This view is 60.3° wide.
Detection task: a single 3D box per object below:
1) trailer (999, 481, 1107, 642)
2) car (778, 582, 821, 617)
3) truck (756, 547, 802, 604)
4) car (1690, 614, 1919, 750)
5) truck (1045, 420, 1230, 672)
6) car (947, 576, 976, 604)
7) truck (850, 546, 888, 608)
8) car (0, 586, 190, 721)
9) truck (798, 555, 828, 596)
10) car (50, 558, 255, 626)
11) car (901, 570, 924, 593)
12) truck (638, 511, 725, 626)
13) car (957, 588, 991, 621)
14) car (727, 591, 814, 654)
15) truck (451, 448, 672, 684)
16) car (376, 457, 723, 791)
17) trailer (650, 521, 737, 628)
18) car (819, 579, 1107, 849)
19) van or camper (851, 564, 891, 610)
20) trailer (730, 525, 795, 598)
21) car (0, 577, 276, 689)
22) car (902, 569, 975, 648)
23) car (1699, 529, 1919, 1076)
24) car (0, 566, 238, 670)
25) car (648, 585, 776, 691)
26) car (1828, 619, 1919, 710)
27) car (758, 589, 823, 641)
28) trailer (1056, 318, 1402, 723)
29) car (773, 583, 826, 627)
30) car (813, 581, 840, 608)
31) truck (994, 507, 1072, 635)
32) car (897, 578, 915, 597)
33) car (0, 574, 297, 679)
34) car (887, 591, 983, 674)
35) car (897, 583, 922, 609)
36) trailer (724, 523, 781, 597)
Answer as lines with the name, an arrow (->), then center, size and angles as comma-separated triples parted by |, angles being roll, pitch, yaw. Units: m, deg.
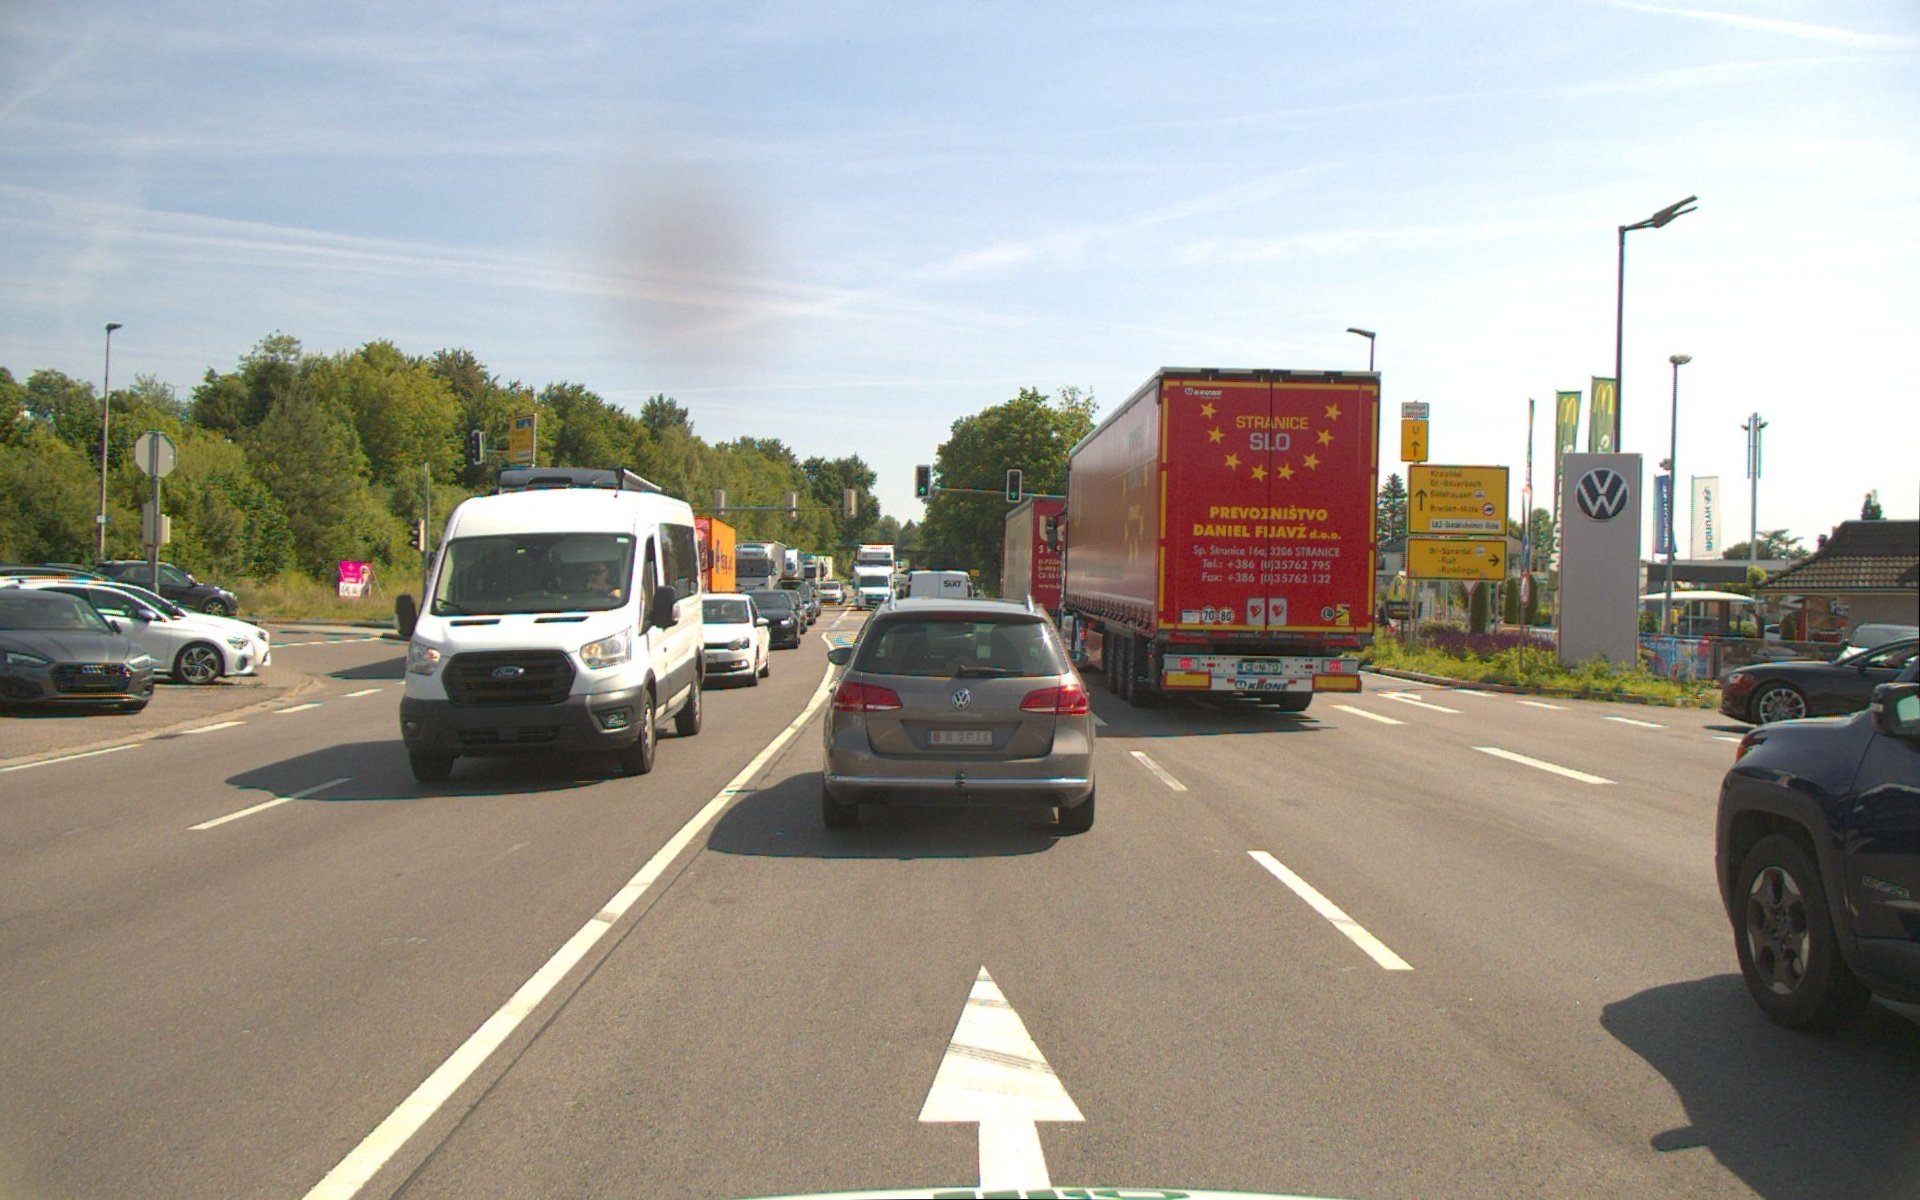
trailer -> 2.640, -1.082, 50.803 | 2.346, 4.317, 13.075 | 0, 0, -1
car -> -7.961, -0.070, 82.413 | 1.883, 1.630, 4.586 | -1, 1, -3
truck -> -13.650, -1.836, 124.874 | 3.124, 4.151, 6.342 | 0, 0, -3
car -> 11.328, 1.068, 19.279 | 4.737, 1.355, 1.952 | 5, -1, 44
truck -> 3.296, -0.976, 32.208 | 2.811, 4.355, 5.838 | 2, 0, 0
car -> 0.061, -0.728, 123.699 | 1.954, 2.049, 3.998 | 0, 0, -3
truck -> -6.232, -1.546, 112.674 | 2.487, 4.159, 6.261 | 0, 0, -4
car -> -12.013, 0.617, 21.609 | 4.560, 1.461, 1.962 | 3, 1, 43
truck -> -14.987, -2.506, 169.151 | 2.675, 4.069, 9.614 | 0, 0, -3
car -> -21.838, -0.200, 44.868 | 1.883, 1.554, 4.604 | 3, -1, 44
car -> -4.271, -1.637, 147.899 | 1.954, 2.049, 3.998 | 0, 0, -3
truck -> -10.258, -1.126, 61.304 | 2.667, 4.068, 6.051 | 0, 0, -5
car -> 0.857, 0.241, 104.848 | 1.954, 2.049, 3.998 | 0, 0, -3
car -> -4.754, 0.526, 41.952 | 1.676, 1.469, 4.378 | -2, 0, 0
truck -> -7.759, -0.623, 33.596 | 2.657, 4.068, 9.969 | 0, 0, -4
car -> -3.653, 0.157, 16.239 | 2.018, 2.554, 7.110 | 0, 0, -3
trailer -> -10.944, -1.001, 68.952 | 2.667, 4.068, 12.223 | 0, 0, -5
car -> -0.092, 0.636, 11.499 | 1.658, 1.539, 3.997 | 0, 0, -3
van or camper -> -5.259, -0.764, 98.877 | 2.283, 2.645, 6.976 | 0, 0, -2
trailer -> -12.093, -2.263, 102.304 | 2.637, 4.220, 13.877 | 0, 0, -1
car -> -13.172, 0.493, 25.331 | 4.661, 1.501, 1.870 | 4, -1, -35
car -> -0.608, 0.197, 43.457 | 1.735, 1.970, 3.975 | 0, 0, -3
car -> 3.827, 0.627, 4.574 | 1.734, 1.683, 3.999 | 0, 0, -1
car -> -15.655, 0.321, 29.437 | 4.757, 1.654, 1.902 | 4, -2, -43
car -> -4.026, 0.569, 27.334 | 1.620, 1.583, 3.998 | -2, 0, -2
car -> 18.548, 1.224, 32.899 | 1.823, 1.604, 4.219 | 0, 0, 34
car -> -5.511, 0.454, 54.251 | 1.824, 1.550, 4.587 | -1, 1, -2
trailer -> 3.410, -0.933, 25.142 | 2.782, 4.441, 13.165 | 2, 0, -1
car -> -6.334, 0.158, 65.766 | 1.870, 1.630, 4.586 | -1, 1, -3
car -> -9.537, -0.423, 118.465 | 1.806, 1.763, 4.586 | 2, 1, -3
truck -> 2.459, -0.985, 57.101 | 2.357, 4.200, 5.520 | 0, 0, -1
car -> -5.845, -1.315, 178.782 | 1.954, 2.049, 3.998 | 0, 0, -3
car -> -13.910, 0.463, 27.869 | 4.674, 1.539, 1.926 | 4, -1, -42
car -> -0.551, 0.590, 32.661 | 1.735, 1.539, 3.997 | 0, 0, -3
car -> -4.066, -0.323, 132.710 | 1.954, 2.049, 3.998 | 0, 0, -3
trailer -> -11.964, -2.256, 95.725 | 2.591, 4.176, 6.180 | 0, 0, -1
